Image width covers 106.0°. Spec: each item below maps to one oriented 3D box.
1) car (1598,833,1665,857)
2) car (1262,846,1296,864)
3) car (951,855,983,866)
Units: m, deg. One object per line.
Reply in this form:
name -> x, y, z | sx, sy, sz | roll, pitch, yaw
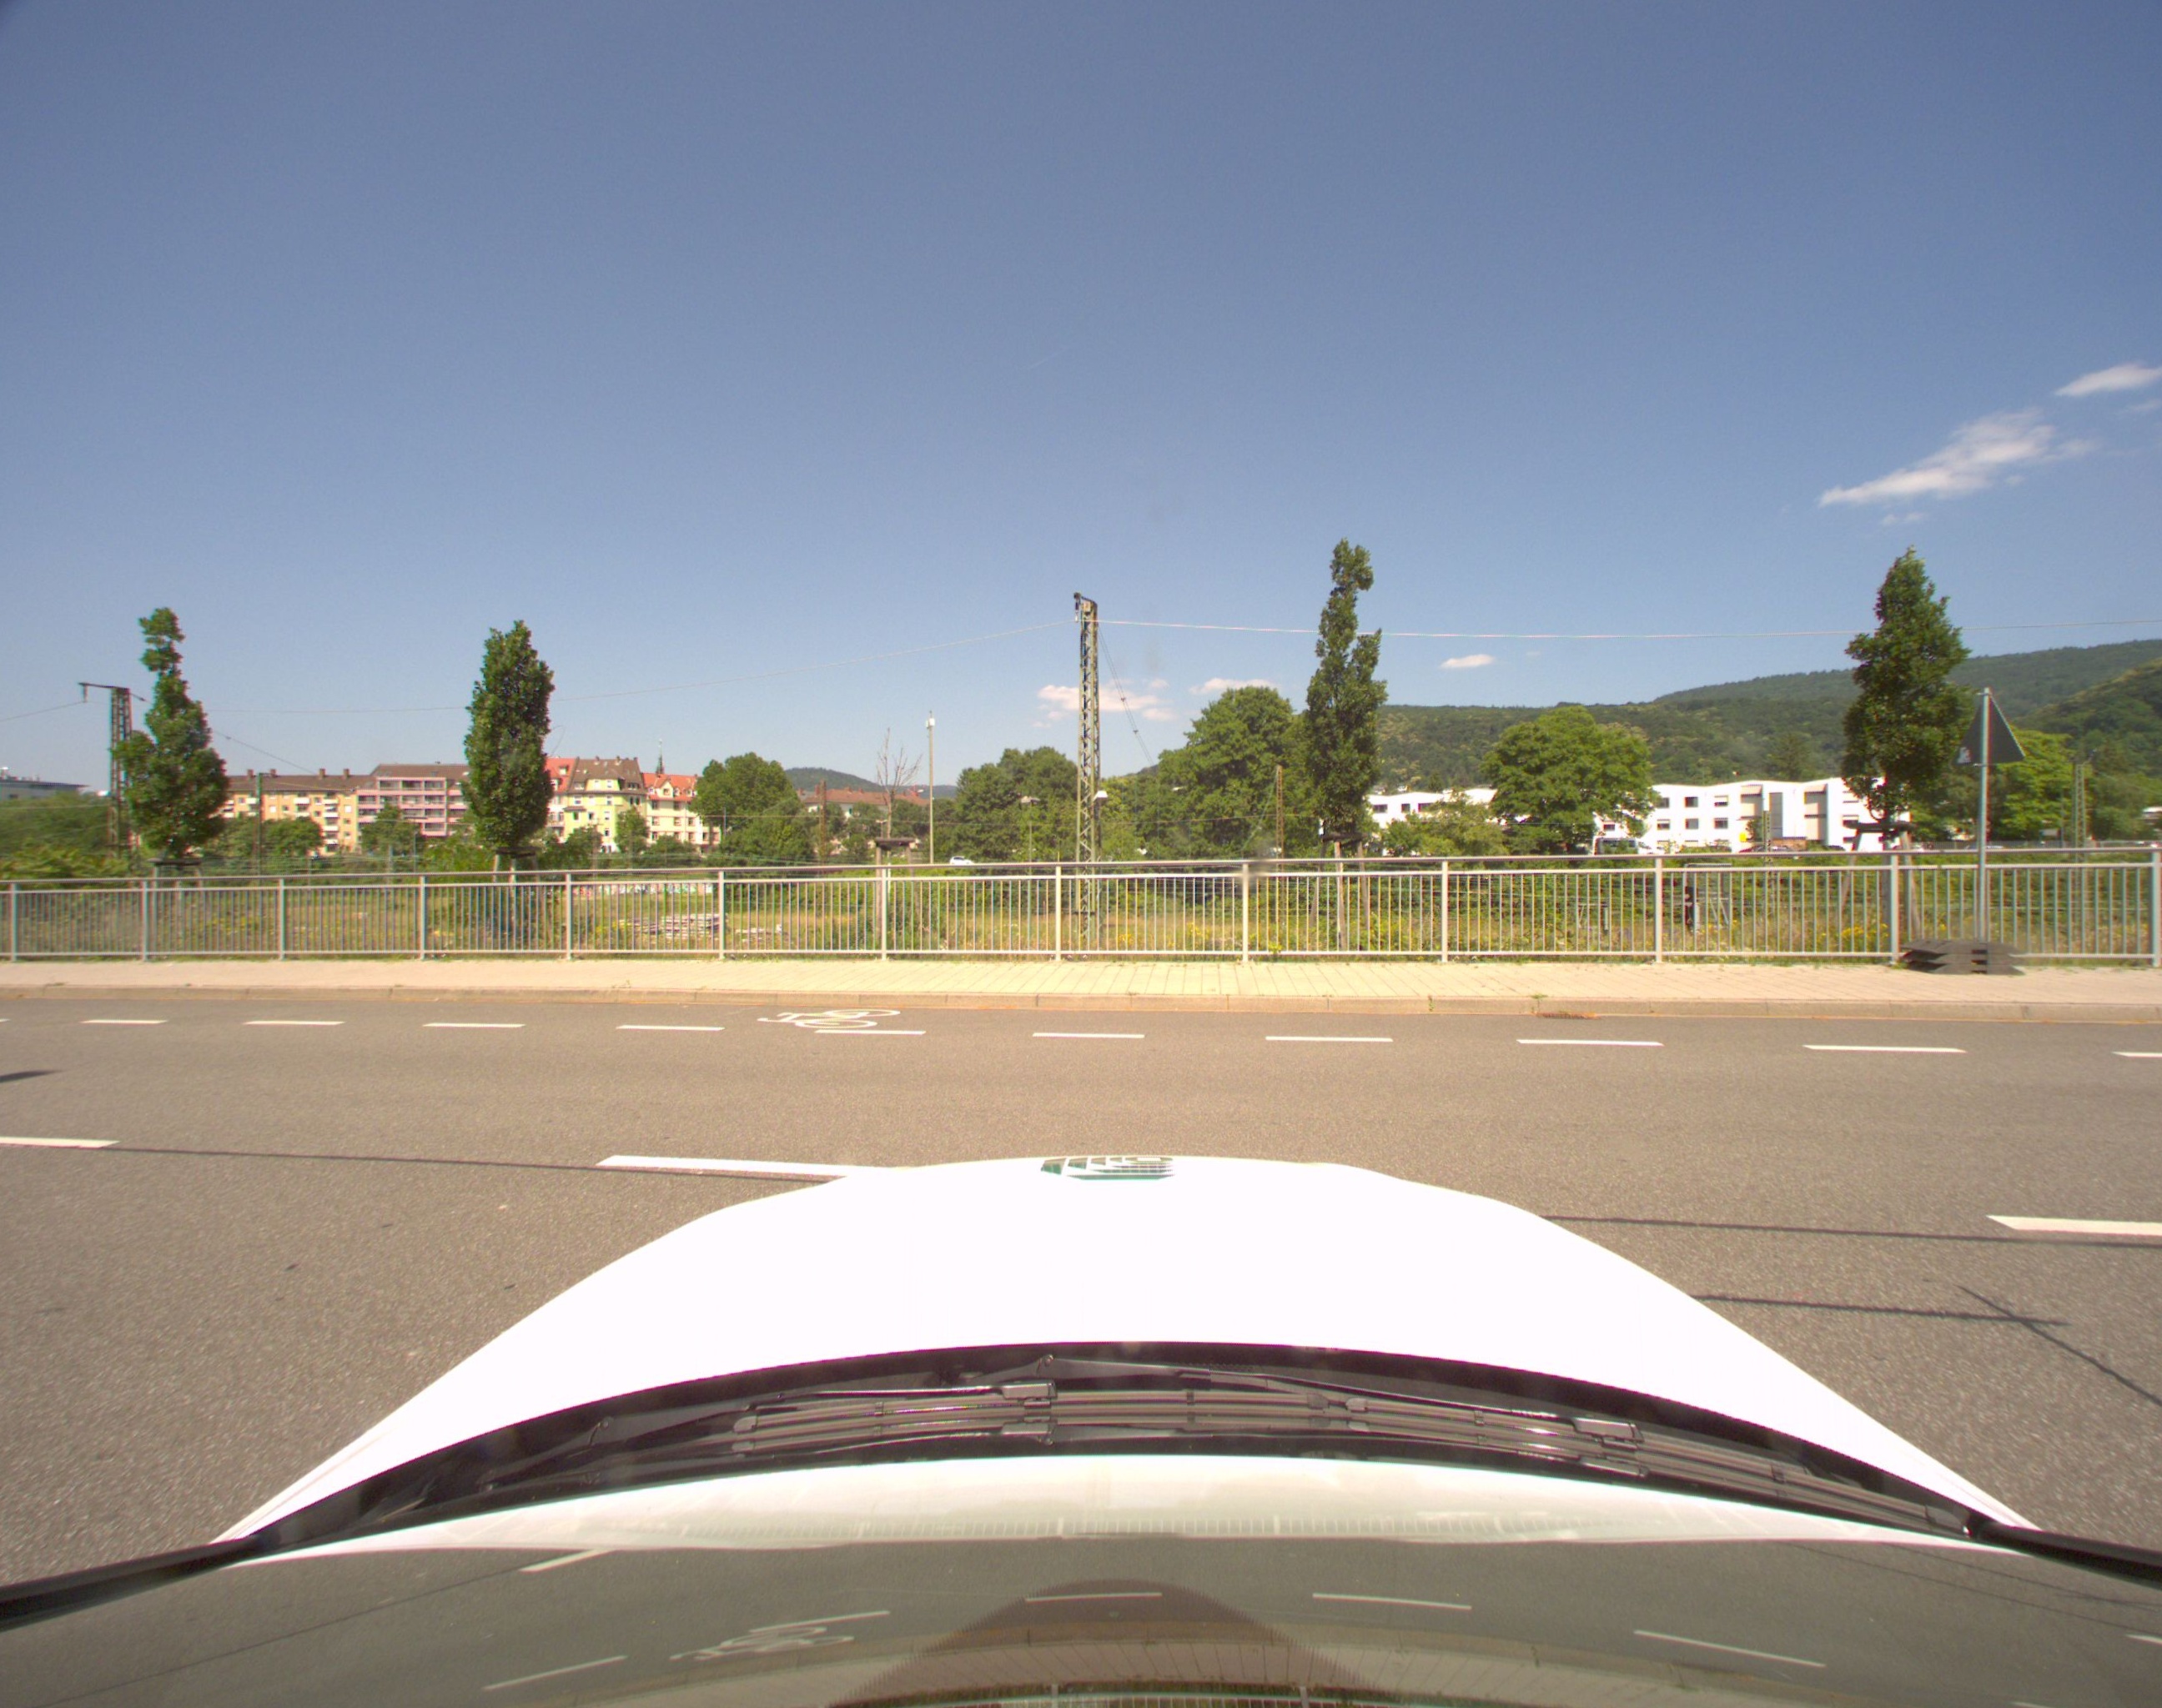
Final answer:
car -> 57.990, -0.949, 85.927 | 5.455, 2.103, 2.145 | -2, -5, 19
car -> 25.881, 0.134, 106.441 | 3.885, 2.014, 1.765 | -3, -5, 26
car -> -15.656, 0.916, 111.420 | 4.260, 1.367, 1.878 | -1, 0, 37
